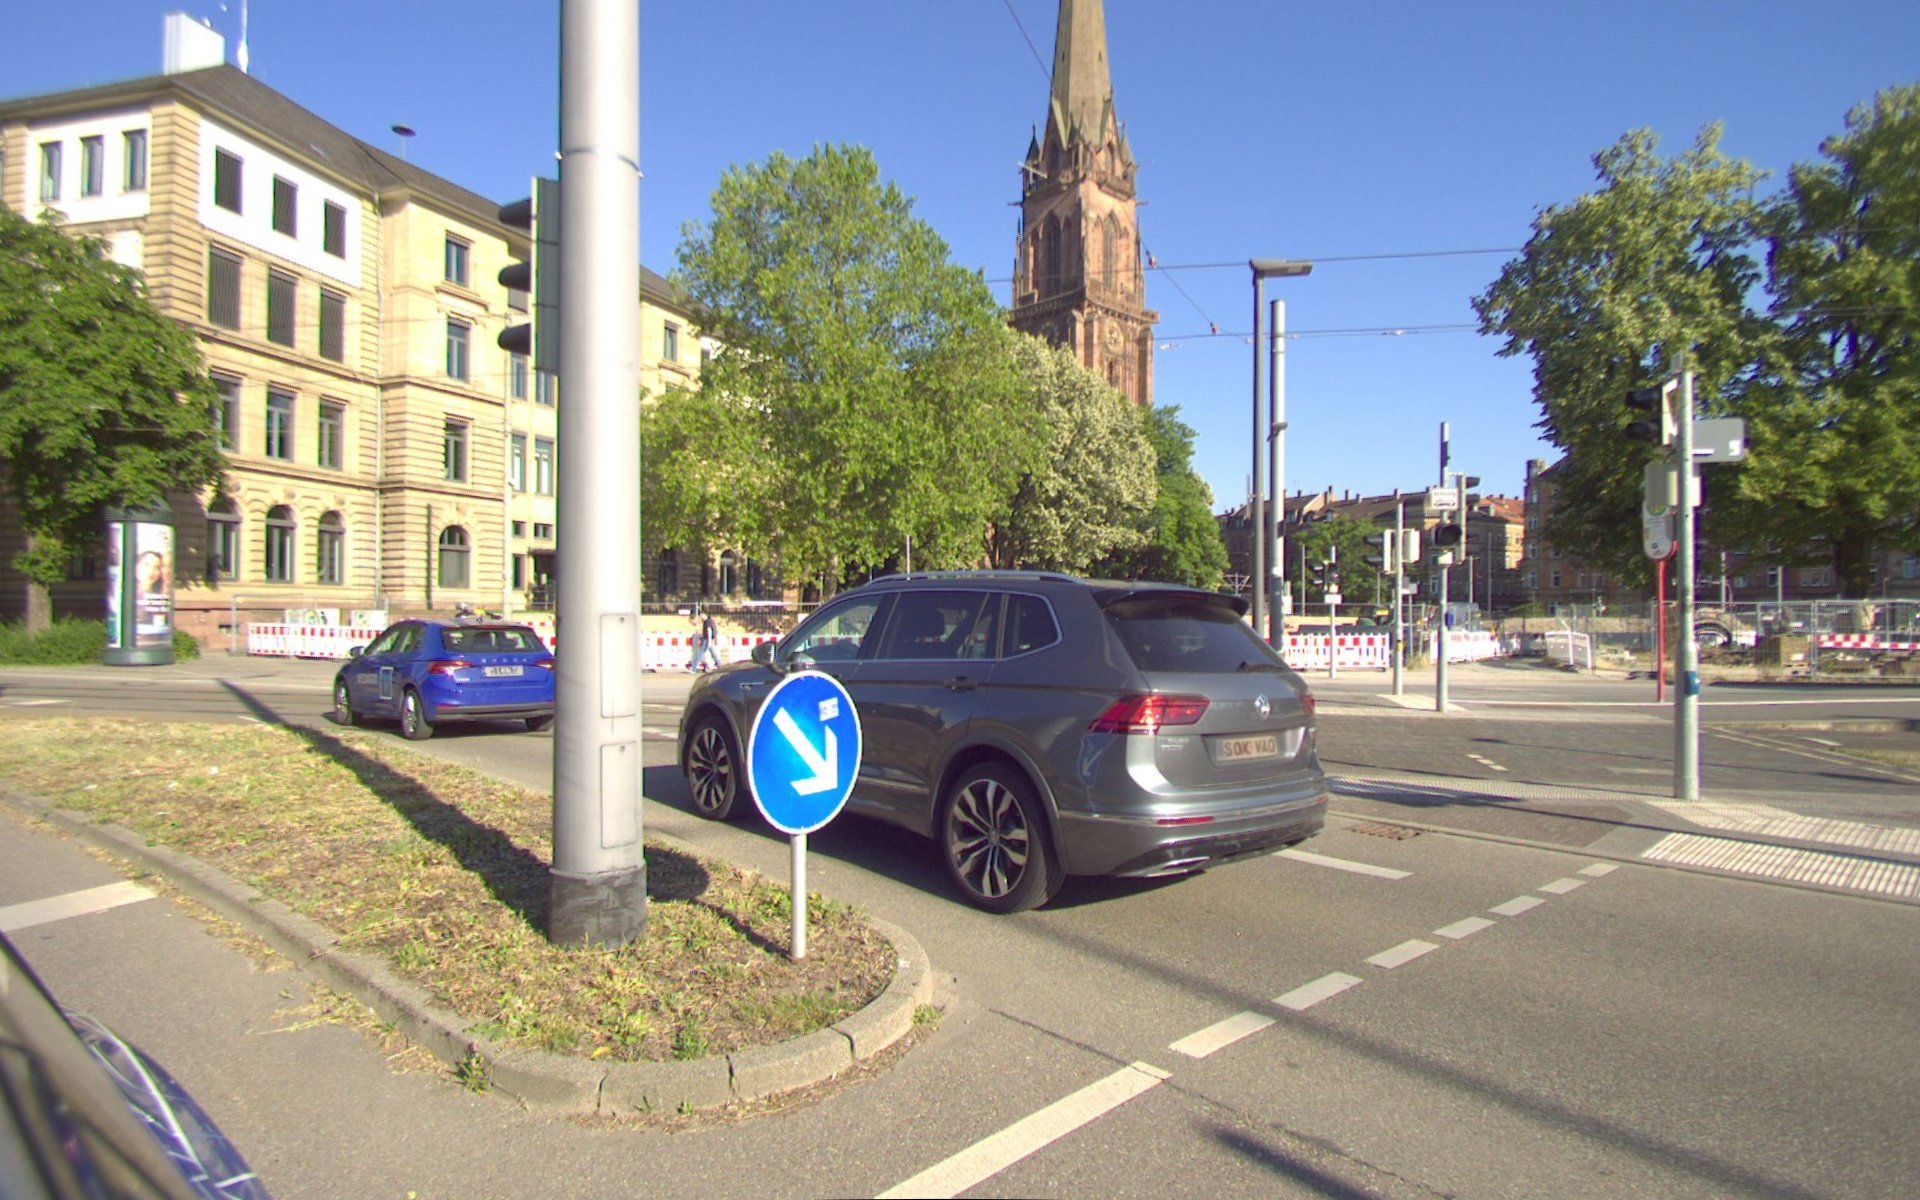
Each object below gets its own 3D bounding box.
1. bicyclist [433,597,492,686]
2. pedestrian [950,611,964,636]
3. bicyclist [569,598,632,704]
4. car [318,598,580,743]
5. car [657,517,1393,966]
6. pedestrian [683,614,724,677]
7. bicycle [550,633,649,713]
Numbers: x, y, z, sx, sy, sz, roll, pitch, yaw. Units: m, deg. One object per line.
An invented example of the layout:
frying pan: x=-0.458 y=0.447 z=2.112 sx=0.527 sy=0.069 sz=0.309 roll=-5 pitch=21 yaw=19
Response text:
bicyclist: x=-9.615 y=0.795 z=19.556 sx=0.700 sy=1.670 sz=0.902 roll=5 pitch=-4 yaw=-44
pedestrian: x=-0.203 y=1.555 z=67.807 sx=0.674 sy=1.660 sz=0.630 roll=-1 pitch=-1 yaw=36
bicyclist: x=-5.832 y=0.812 z=16.410 sx=0.700 sy=1.670 sz=0.744 roll=2 pitch=-2 yaw=-44
car: x=-6.792 y=0.835 z=13.283 sx=3.924 sy=1.586 sz=1.718 roll=1 pitch=-3 yaw=42
car: x=0.010 y=0.601 z=6.166 sx=1.740 sy=1.719 sz=4.535 roll=3 pitch=-3 yaw=-42
pedestrian: x=-7.120 y=1.259 z=28.129 sx=0.888 sy=1.710 sz=0.711 roll=2 pitch=-2 yaw=-3
bicycle: x=-5.883 y=1.139 z=16.448 sx=0.666 sy=1.189 sz=2.185 roll=2 pitch=-2 yaw=-44
